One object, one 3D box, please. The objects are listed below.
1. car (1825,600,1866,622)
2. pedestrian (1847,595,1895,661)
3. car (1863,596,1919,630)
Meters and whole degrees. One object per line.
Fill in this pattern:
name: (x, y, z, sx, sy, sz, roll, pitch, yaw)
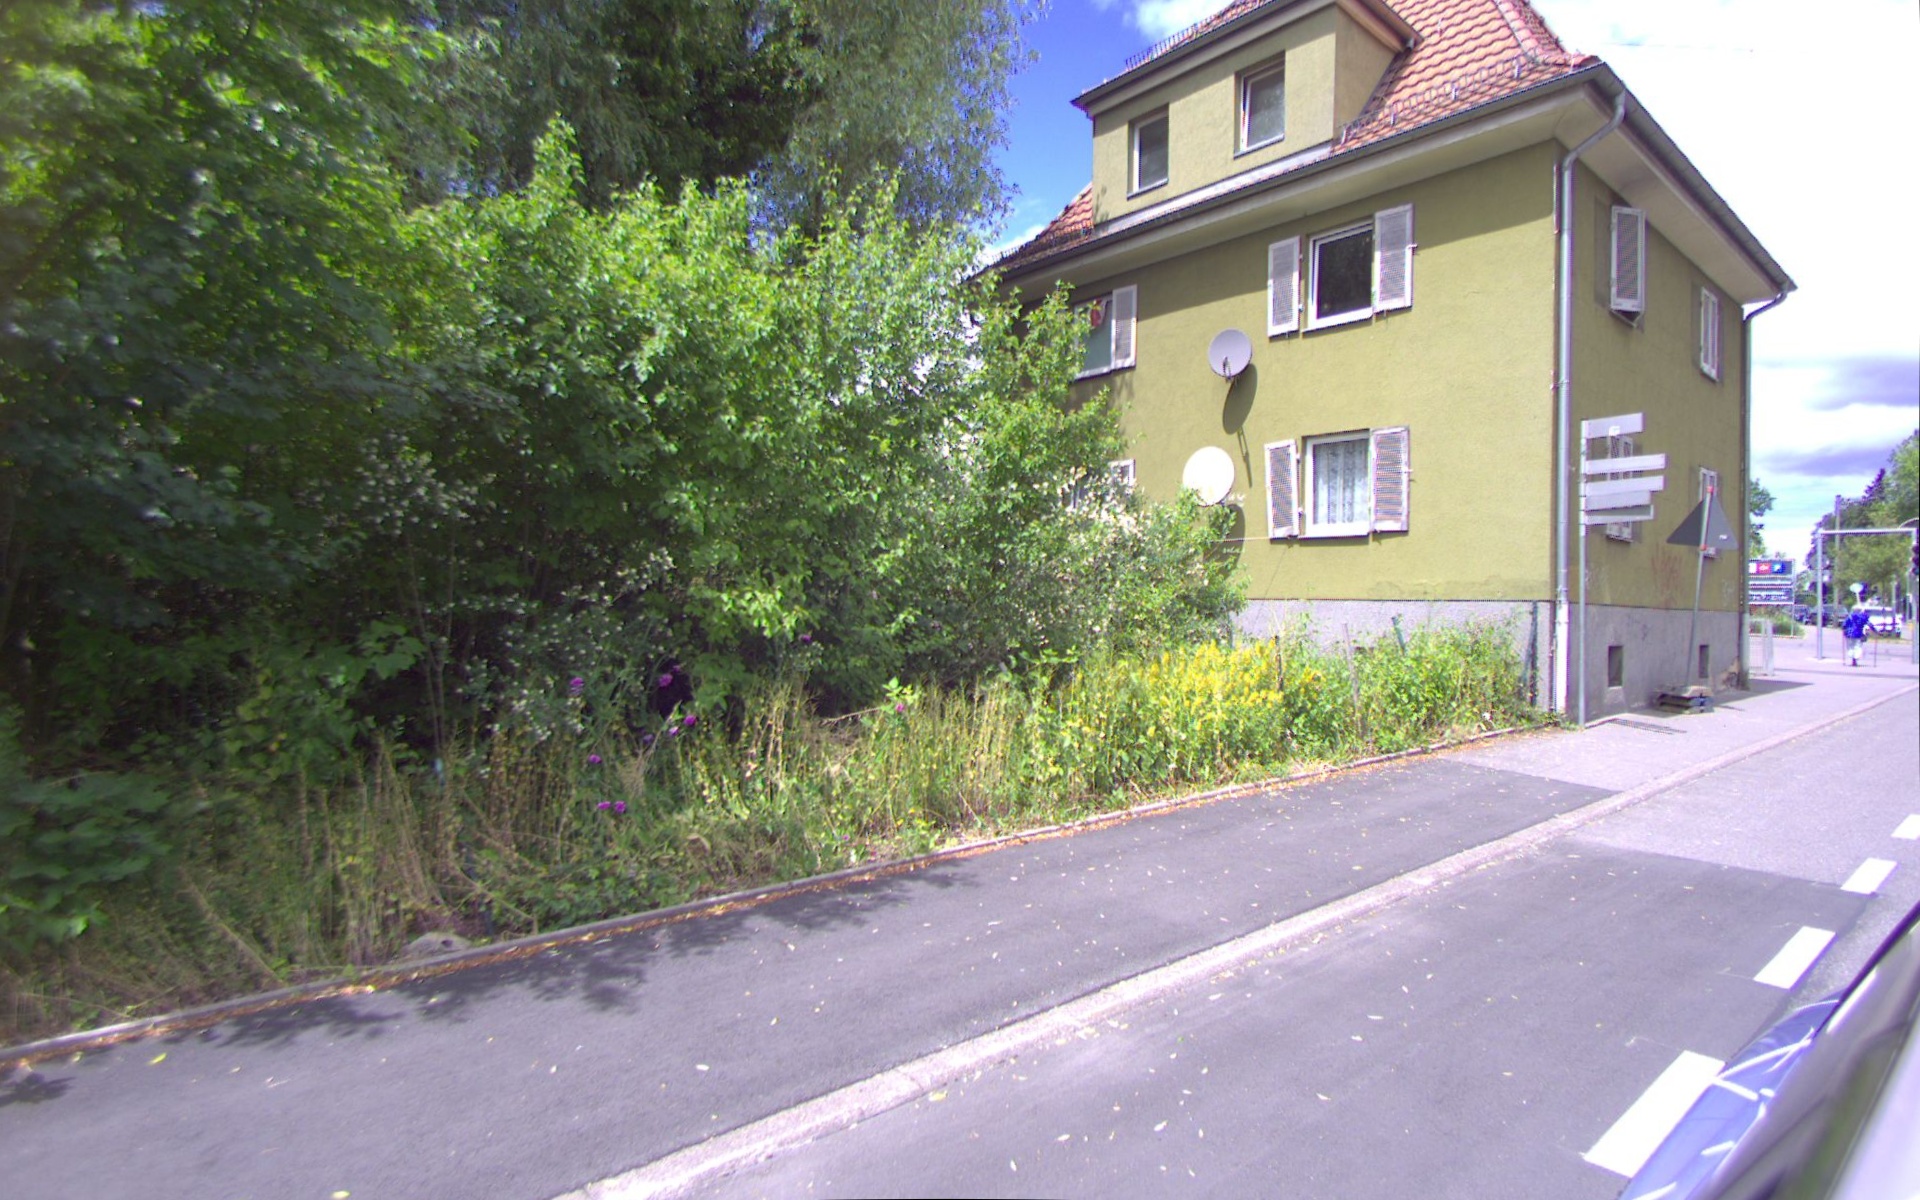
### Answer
car: (64.078, 0.778, 73.252, 1.694, 1.551, 3.951, -1, -1, 34)
pedestrian: (23.030, 0.687, 25.581, 0.824, 1.592, 0.972, 2, 1, 45)
car: (46.841, 0.632, 50.966, 1.788, 1.549, 3.864, 4, 2, 40)
